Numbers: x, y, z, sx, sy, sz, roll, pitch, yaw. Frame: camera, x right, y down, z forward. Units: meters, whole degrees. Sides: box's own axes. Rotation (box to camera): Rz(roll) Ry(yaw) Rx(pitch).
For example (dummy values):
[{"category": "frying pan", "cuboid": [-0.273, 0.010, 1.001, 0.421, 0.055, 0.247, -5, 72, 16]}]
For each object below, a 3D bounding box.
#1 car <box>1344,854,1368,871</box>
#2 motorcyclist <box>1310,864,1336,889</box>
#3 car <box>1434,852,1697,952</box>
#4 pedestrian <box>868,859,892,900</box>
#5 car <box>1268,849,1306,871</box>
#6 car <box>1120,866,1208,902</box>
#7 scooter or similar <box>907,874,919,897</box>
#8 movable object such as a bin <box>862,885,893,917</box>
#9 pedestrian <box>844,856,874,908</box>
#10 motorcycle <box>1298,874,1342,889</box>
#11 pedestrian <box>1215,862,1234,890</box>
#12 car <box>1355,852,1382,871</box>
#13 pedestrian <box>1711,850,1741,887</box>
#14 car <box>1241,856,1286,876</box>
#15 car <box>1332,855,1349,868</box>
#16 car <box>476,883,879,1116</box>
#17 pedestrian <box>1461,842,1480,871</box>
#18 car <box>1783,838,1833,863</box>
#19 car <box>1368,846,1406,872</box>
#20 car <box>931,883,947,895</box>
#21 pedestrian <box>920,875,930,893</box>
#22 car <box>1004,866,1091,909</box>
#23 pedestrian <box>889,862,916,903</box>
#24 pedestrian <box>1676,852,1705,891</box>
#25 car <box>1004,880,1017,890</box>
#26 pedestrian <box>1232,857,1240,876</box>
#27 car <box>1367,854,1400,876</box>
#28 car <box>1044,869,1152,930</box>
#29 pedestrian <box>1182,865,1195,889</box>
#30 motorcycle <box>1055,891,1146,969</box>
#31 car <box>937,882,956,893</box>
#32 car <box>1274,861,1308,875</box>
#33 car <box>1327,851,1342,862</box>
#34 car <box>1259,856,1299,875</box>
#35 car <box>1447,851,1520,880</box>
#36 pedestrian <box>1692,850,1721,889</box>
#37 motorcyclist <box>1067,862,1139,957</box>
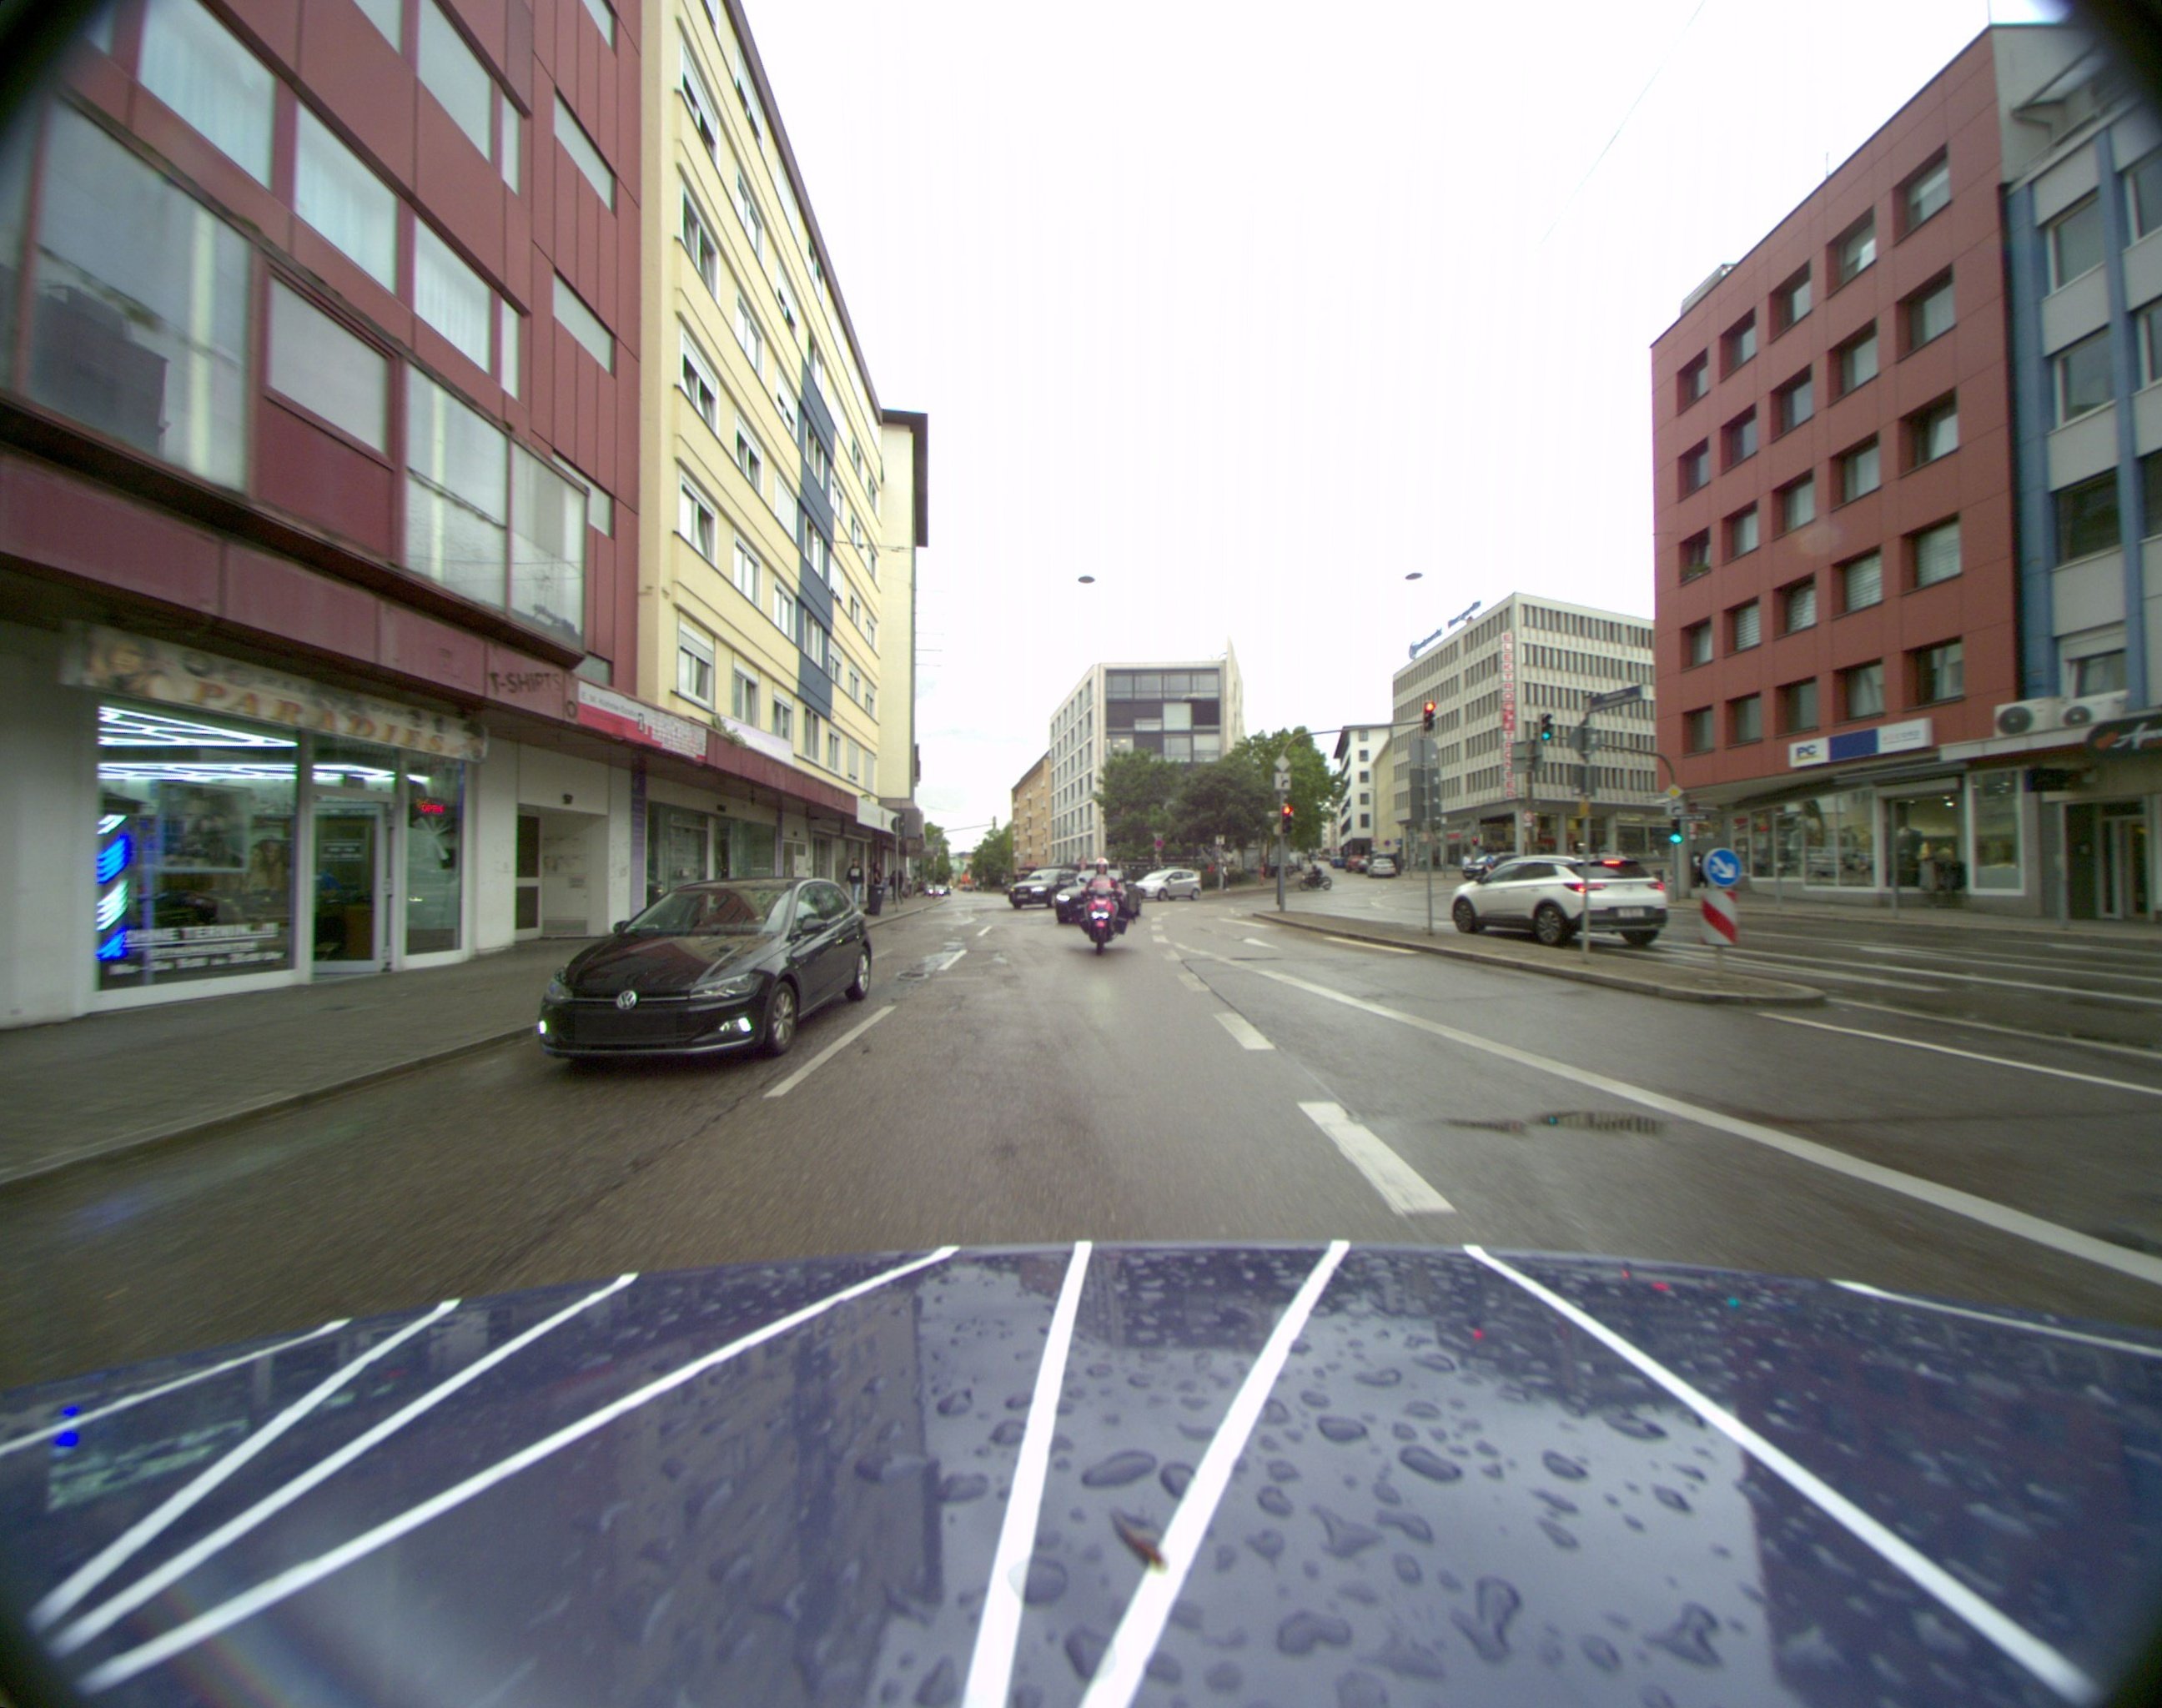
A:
[{"category": "car", "cuboid": [29.723, 0.960, 82.267, 1.931, 1.661, 4.451, -3, -2, 14]}, {"category": "motorcyclist", "cuboid": [14.334, 1.333, 45.035, 1.114, 1.434, 0.911, -1, 0, -9]}, {"category": "car", "cuboid": [9.032, 0.857, 14.741, 1.999, 1.542, 4.428, -3, -2, -4]}, {"category": "pedestrian", "cuboid": [-8.684, 1.092, 32.835, 0.616, 1.752, 0.790, -3, -1, 21]}, {"category": "car", "cuboid": [24.153, 0.702, 89.077, 3.826, 2.252, 1.989, -3, 0, 31]}, {"category": "car", "cuboid": [4.164, 1.477, 37.792, 4.112, 1.574, 1.995, -1, -2, -41]}, {"category": "scooter or similar", "cuboid": [-10.094, 1.887, 45.667, 0.377, 1.352, 1.149, -2, 0, 5]}, {"category": "movable object such as a bin", "cuboid": [-6.210, 1.429, 23.184, 0.530, 0.928, 0.674, 3, -1, 36]}, {"category": "pedestrian", "cuboid": [-7.704, 0.973, 26.404, 0.838, 1.753, 0.617, 3, -3, -7]}, {"category": "motorcycle", "cuboid": [14.152, 1.623, 45.042, 2.395, 0.837, 0.712, -1, 0, -9]}, {"category": "pedestrian", "cuboid": [9.270, 1.428, 49.094, 0.783, 1.738, 0.788, -7, -2, -8]}, {"category": "car", "cuboid": [28.635, 0.718, 75.787, 2.023, 1.739, 4.621, -3, -2, 16]}, {"category": "pedestrian", "cuboid": [28.648, 0.643, 33.756, 0.734, 1.619, 0.693, -2, -1, -26]}, {"category": "car", "cuboid": [15.735, 1.046, 65.403, 3.539, 1.550, 1.742, -3, 0, 20]}, {"category": "car", "cuboid": [37.056, 1.084, 108.491, 2.023, 1.829, 4.050, -3, -2, 16]}, {"category": "car", "cuboid": [-3.258, 1.067, 7.116, 1.742, 1.422, 3.880, 0, 0, -1]}, {"category": "pedestrian", "cuboid": [27.843, 0.195, 54.345, 0.993, 2.002, 0.948, -1, 0, 16]}, {"category": "car", "cuboid": [48.830, -0.262, 51.028, 4.387, 1.542, 1.995, -1, -2, -41]}, {"category": "car", "cuboid": [26.960, 0.494, 67.097, 2.094, 2.078, 4.618, -3, -2, 9]}, {"category": "car", "cuboid": [-17.616, 4.367, 94.233, 1.786, 1.444, 3.997, -2, -2, -13]}, {"category": "pedestrian", "cuboid": [-13.897, 2.664, 67.737, 0.737, 1.636, 0.641, -3, 0, -10]}, {"category": "car", "cuboid": [-1.287, 1.327, 31.089, 1.868, 1.538, 4.111, -3, -1, 23]}, {"category": "pedestrian", "cuboid": [-7.522, 1.199, 32.082, 0.752, 1.712, 0.755, -3, -1, 21]}, {"category": "pedestrian", "cuboid": [27.530, 0.794, 34.317, 0.744, 1.737, 0.732, -2, -1, -28]}, {"category": "car", "cuboid": [-11.730, 5.216, 126.494, 1.828, 1.564, 3.998, -2, -2, -9]}, {"category": "pedestrian", "cuboid": [14.437, 1.175, 70.845, 0.592, 1.802, 0.705, -4, -2, 17]}, {"category": "car", "cuboid": [24.590, 0.870, 61.845, 1.999, 1.621, 4.621, -3, -2, 17]}, {"category": "car", "cuboid": [0.629, 1.236, 21.897, 1.996, 1.482, 4.740, -2, -1, 15]}, {"category": "pedestrian", "cuboid": [8.453, 1.817, 59.919, 0.788, 1.802, 0.593, -3, -2, -8]}, {"category": "motorcycle", "cuboid": [0.408, 1.279, 13.317, 1.312, 1.128, 2.186, -2, 0, 8]}, {"category": "car", "cuboid": [-21.404, 5.252, 120.637, 2.002, 1.610, 4.117, -1, 0, -23]}, {"category": "car", "cuboid": [21.059, 1.377, 76.032, 3.042, 1.176, 2.054, -3, 0, 20]}, {"category": "car", "cuboid": [44.464, 0.464, 133.319, 2.024, 1.638, 4.433, -3, -2, 14]}, {"category": "car", "cuboid": [19.010, 1.098, 72.953, 3.539, 1.550, 1.742, -3, 0, 17]}, {"category": "car", "cuboid": [26.335, 0.741, 49.723, 4.003, 1.673, 1.997, -2, 0, -19]}, {"category": "pedestrian", "cuboid": [28.612, 0.720, 34.757, 0.700, 1.737, 0.732, -2, -1, -28]}, {"category": "motorcyclist", "cuboid": [0.406, 0.965, 13.504, 1.092, 1.595, 0.954, -2, -1, 9]}]
